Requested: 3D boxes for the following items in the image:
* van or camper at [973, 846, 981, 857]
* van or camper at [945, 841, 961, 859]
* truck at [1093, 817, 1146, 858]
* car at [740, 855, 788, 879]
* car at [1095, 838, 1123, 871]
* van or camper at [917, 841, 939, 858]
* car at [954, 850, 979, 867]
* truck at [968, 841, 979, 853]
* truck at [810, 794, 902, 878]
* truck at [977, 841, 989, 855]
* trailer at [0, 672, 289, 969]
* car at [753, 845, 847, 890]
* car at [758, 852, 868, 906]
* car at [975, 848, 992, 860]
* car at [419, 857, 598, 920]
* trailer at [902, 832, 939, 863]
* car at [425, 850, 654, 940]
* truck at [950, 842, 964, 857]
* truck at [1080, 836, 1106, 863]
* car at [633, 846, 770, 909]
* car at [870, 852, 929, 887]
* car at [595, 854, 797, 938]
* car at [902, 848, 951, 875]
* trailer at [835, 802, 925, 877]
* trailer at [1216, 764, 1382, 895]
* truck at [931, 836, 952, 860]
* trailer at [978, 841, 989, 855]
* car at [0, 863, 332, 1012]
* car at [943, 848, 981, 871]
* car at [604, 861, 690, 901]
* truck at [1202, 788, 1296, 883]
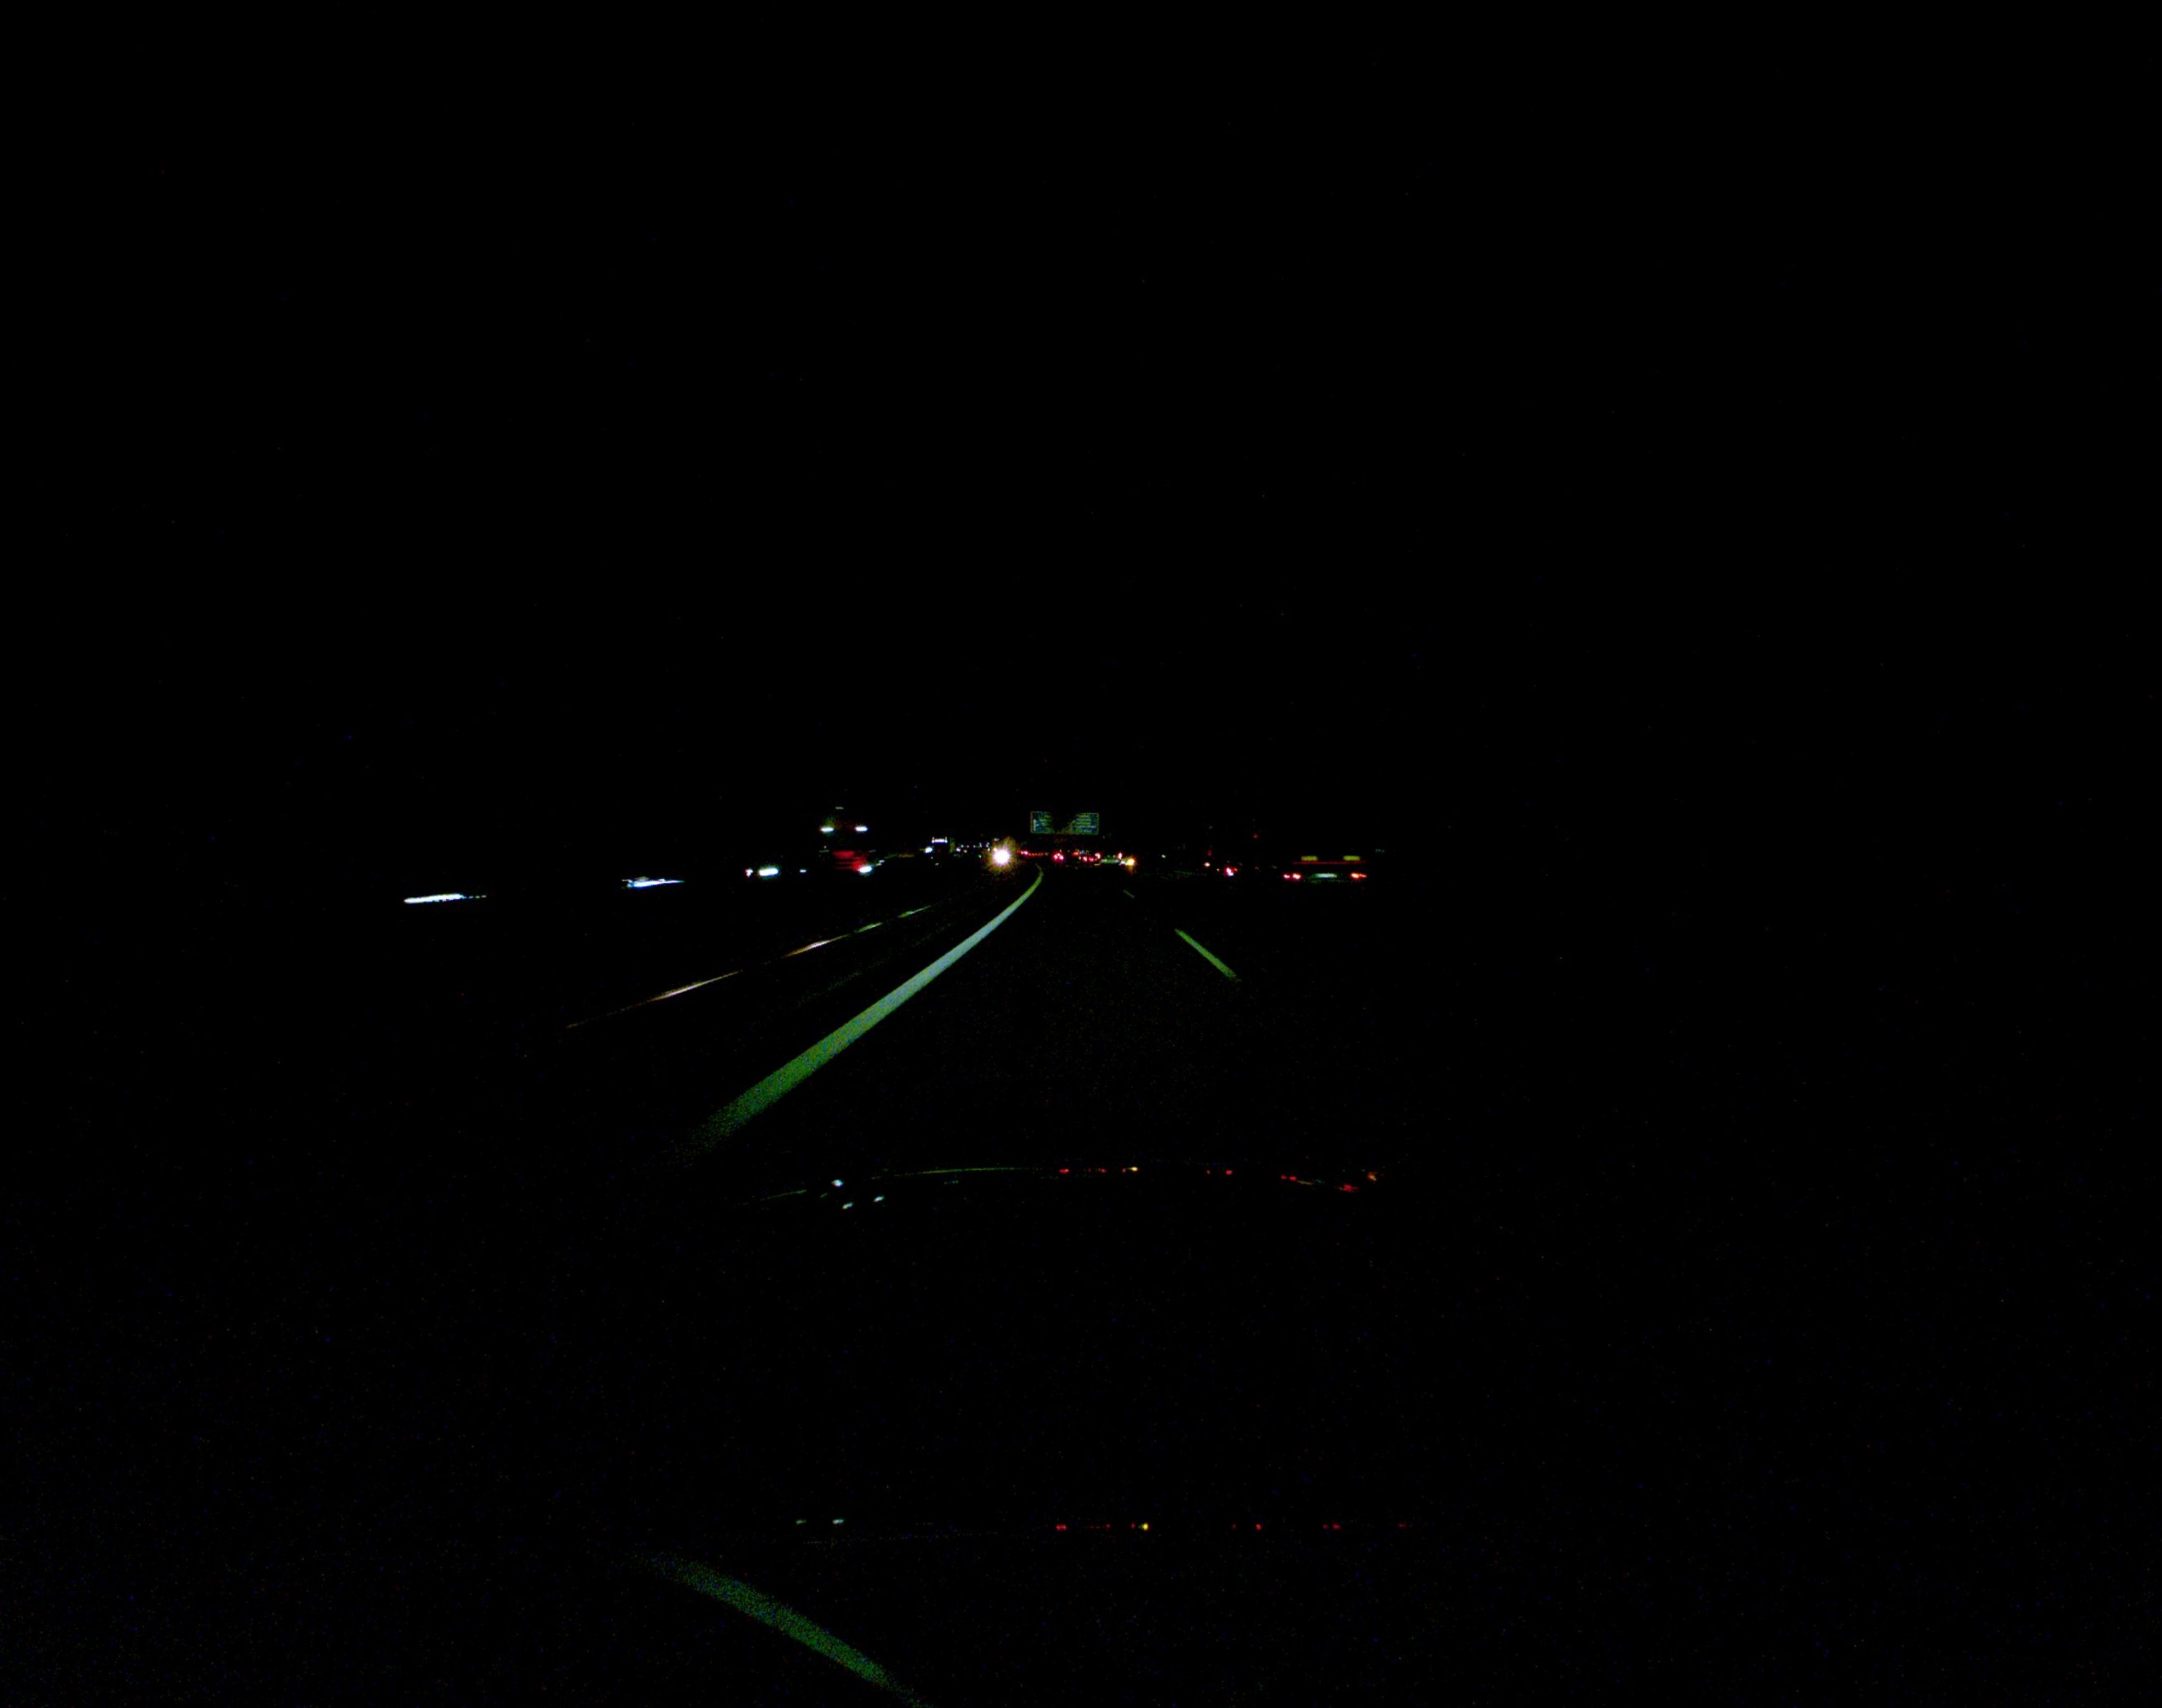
[{"bbox_3d":[-26.996,-0.592,211.598,2.082,2.632,7.585,1,0,-7],"label":"van or camper"},{"bbox_3d":[-23.963,-0.669,152.560,2.429,3.272,7.380,1,0,-5],"label":"van or camper"},{"bbox_3d":[4.664,-1.847,105.808,3.909,4.627,20.976,-1,-1,-5],"label":"truck"},{"bbox_3d":[-20.773,0.846,53.481,1.648,1.477,3.774,-1,0,0],"label":"car"},{"bbox_3d":[2.401,0.084,70.043,2.328,2.640,5.248,1,-1,1],"label":"car"},{"bbox_3d":[-19.490,-0.541,104.094,2.185,2.013,7.624,1,0,-7],"label":"van or camper"},{"bbox_3d":[-9.543,0.383,67.975,1.565,1.354,3.999,1,0,-1],"label":"car"},{"bbox_3d":[-33.054,-2.116,249.696,2.875,3.673,6.029,2,0,-11],"label":"truck"},{"bbox_3d":[-12.171,-0.866,44.783,3.101,4.097,7.069,3,-1,-2],"label":"truck"},{"bbox_3d":[-27.978,-1.693,232.599,2.871,3.674,6.765,3,-1,-6],"label":"truck"},{"bbox_3d":[-15.664,-0.410,10.424,2.815,3.917,8.728,-1,1,-4],"label":"trailer"},{"bbox_3d":[-12.310,0.549,36.121,1.985,1.810,5.490,-1,0,3],"label":"car"},{"bbox_3d":[-8.443,0.740,26.100,1.826,1.553,4.515,-1,0,2],"label":"car"},{"bbox_3d":[-11.248,-0.021,94.242,1.565,1.354,3.999,1,0,-1],"label":"car"},{"bbox_3d":[-15.405,0.865,22.263,1.535,1.489,4.516,-1,0,3],"label":"car"},{"bbox_3d":[-18.084,-0.613,92.226,2.600,3.176,8.994,3,-1,-3],"label":"trailer"},{"bbox_3d":[-11.832,0.799,18.286,1.941,1.736,4.747,-1,0,0],"label":"car"},{"bbox_3d":[-26.644,-0.893,175.681,2.552,2.986,7.437,1,-1,-6],"label":"truck"},{"bbox_3d":[2.098,-0.797,145.739,3.338,4.476,13.890,2,0,-4],"label":"truck"},{"bbox_3d":[-12.059,0.692,26.305,1.985,1.810,4.752,-1,0,3],"label":"car"},{"bbox_3d":[-8.106,0.648,36.674,1.698,1.426,4.510,-1,0,-1],"label":"car"},{"bbox_3d":[-7.612,0.749,16.701,1.906,1.443,4.649,-1,0,0],"label":"car"},{"bbox_3d":[-8.977,0.419,47.681,1.837,1.426,4.513,2,0,1],"label":"car"},{"bbox_3d":[-12.545,-0.725,52.195,3.083,4.089,12.434,3,-1,-3],"label":"trailer"},{"bbox_3d":[7.910,-0.792,32.050,2.845,4.067,13.201,-1,0,0],"label":"trailer"},{"bbox_3d":[-20.947,-0.883,122.408,2.399,3.514,6.713,1,0,-4],"label":"truck"},{"bbox_3d":[-28.611,-1.757,238.921,2.882,3.671,12.188,3,-1,-6],"label":"trailer"},{"bbox_3d":[-11.723,0.867,9.332,1.941,1.443,4.649,-1,0,0],"label":"car"},{"bbox_3d":[-8.397,0.349,57.722,1.867,1.426,4.513,4,0,1],"label":"car"},{"bbox_3d":[-19.253,1.146,36.342,1.211,1.596,4.516,-1,0,3],"label":"car"},{"bbox_3d":[7.846,-0.832,39.140,2.853,4.077,7.507,-1,0,-1],"label":"truck"}]
